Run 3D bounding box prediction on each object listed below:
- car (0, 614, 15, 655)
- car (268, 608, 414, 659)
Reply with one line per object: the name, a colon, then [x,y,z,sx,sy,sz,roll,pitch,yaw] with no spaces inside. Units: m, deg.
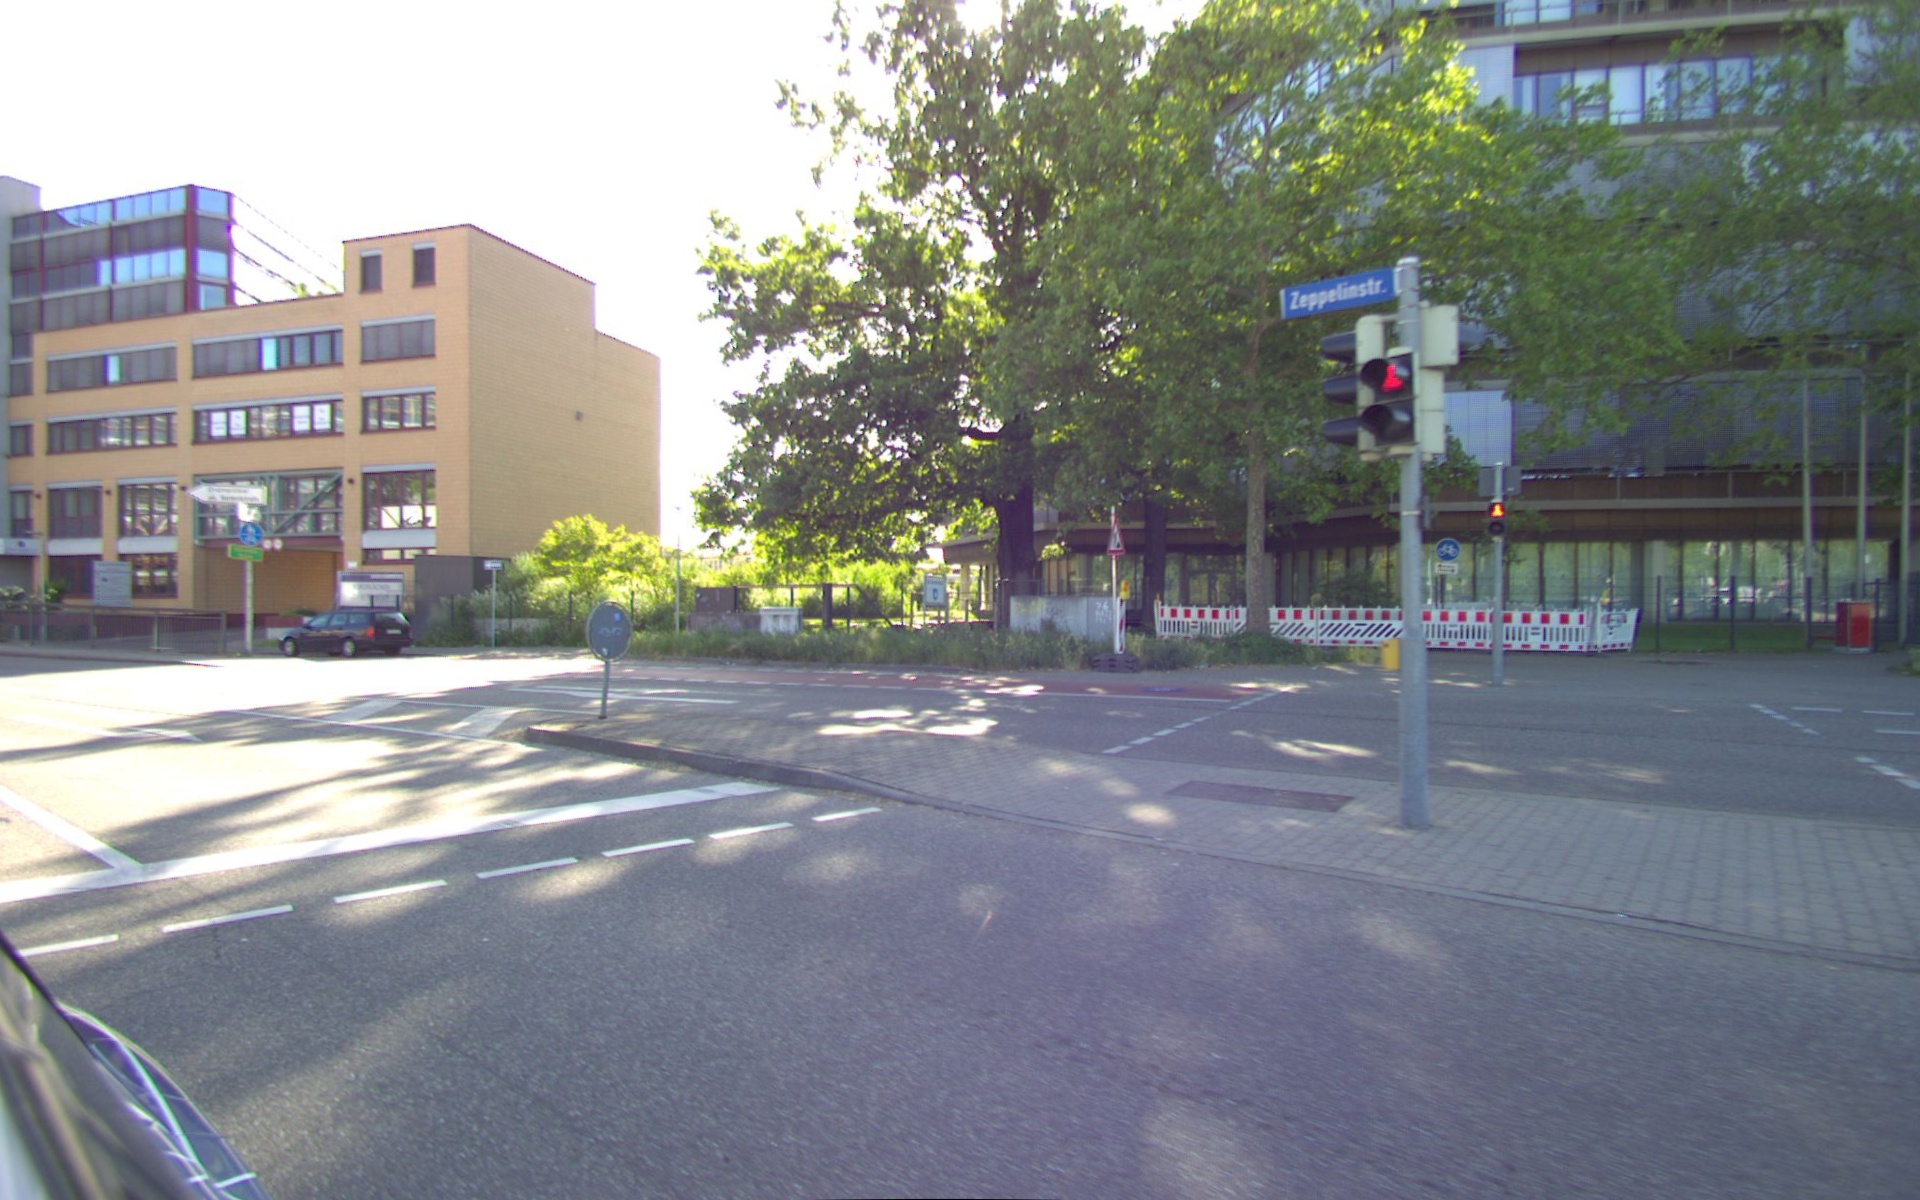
car: [-38.360,1.321,38.462,4.120,1.535,1.631,-1,0,14]
car: [-19.627,1.074,32.098,4.347,1.520,1.648,-2,-3,21]
